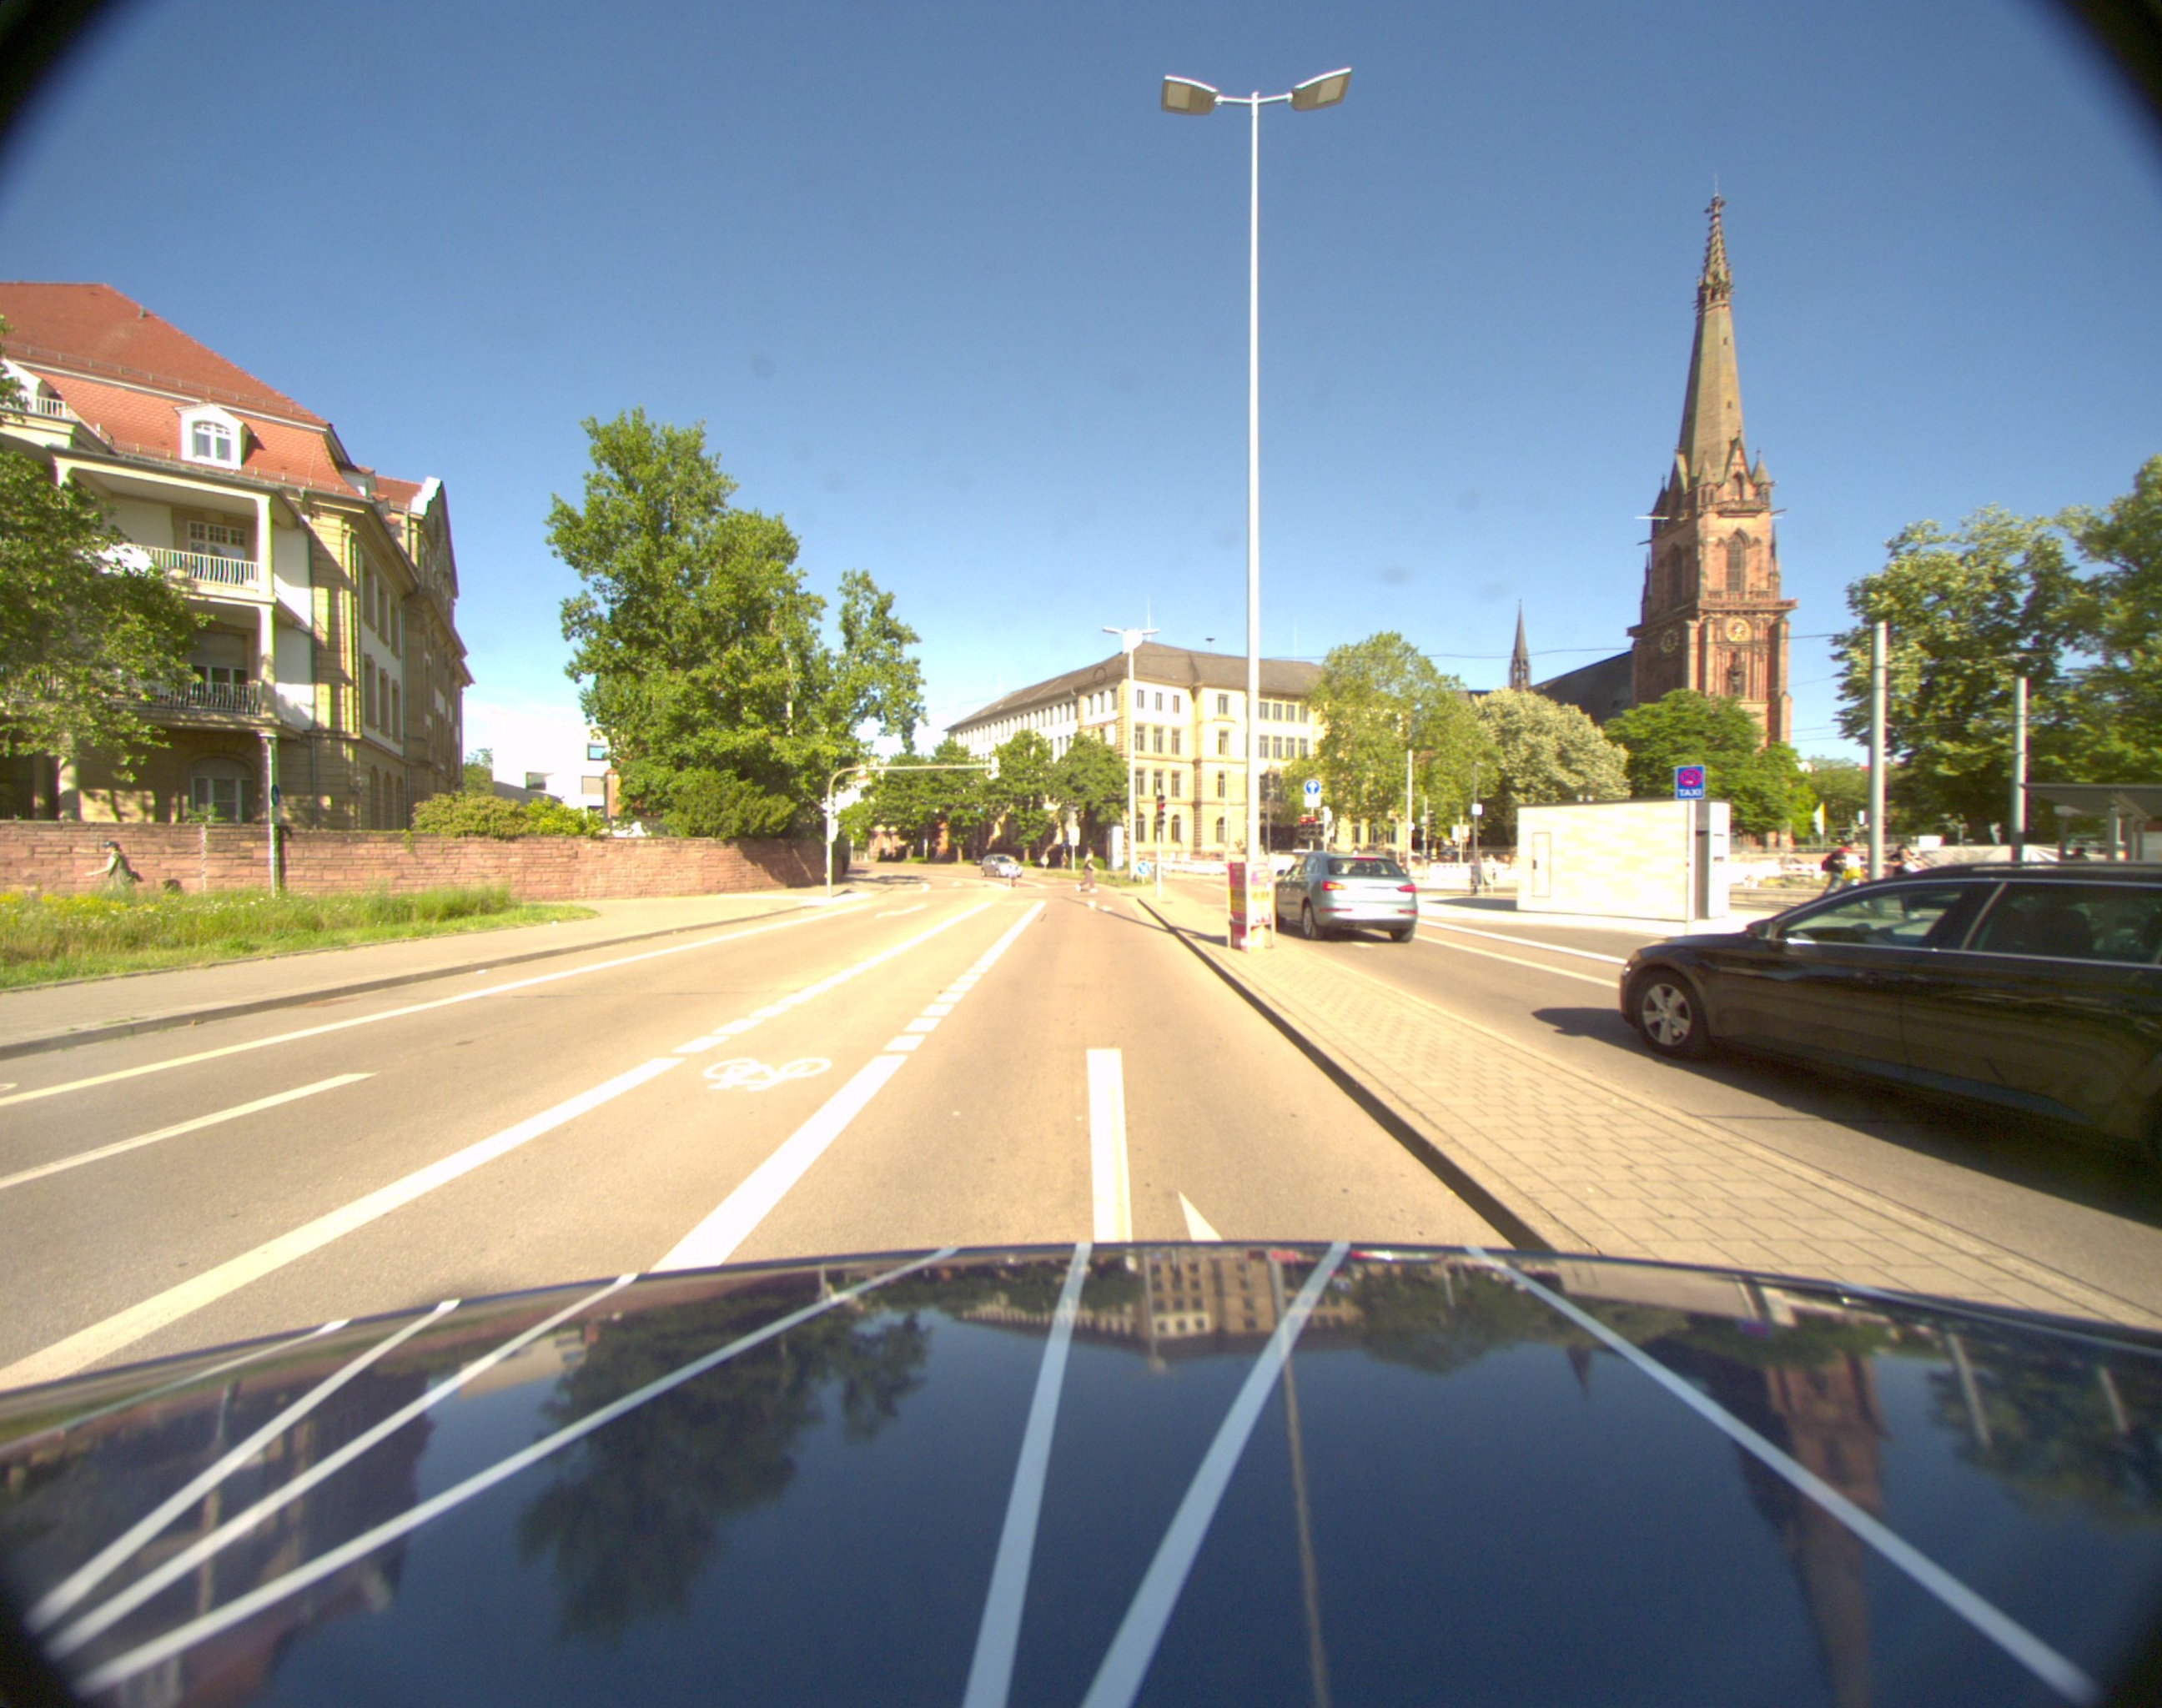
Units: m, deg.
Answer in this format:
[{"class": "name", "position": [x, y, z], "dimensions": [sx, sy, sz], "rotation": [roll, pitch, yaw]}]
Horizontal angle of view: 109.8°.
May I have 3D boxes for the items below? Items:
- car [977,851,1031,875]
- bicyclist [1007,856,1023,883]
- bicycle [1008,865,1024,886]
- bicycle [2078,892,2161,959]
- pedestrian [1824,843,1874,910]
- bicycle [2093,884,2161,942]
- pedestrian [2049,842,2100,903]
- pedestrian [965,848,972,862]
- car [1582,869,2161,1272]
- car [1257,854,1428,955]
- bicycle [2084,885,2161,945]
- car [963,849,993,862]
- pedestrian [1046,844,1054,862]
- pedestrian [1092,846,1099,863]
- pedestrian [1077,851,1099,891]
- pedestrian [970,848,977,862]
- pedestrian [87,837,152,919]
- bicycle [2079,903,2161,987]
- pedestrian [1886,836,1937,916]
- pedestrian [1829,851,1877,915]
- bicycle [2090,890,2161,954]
[{"class": "car", "position": [-5.556, 0.623, 54.126], "dimensions": [2.003, 1.580, 4.840], "rotation": [-3, 1, -30]}, {"class": "bicyclist", "position": [-3.444, 0.812, 39.714], "dimensions": [0.741, 1.363, 0.626], "rotation": [-2, 1, -6]}, {"class": "bicycle", "position": [-3.428, 1.123, 39.732], "dimensions": [0.741, 0.989, 2.305], "rotation": [-2, 1, -6]}, {"class": "bicycle", "position": [17.183, 1.143, 12.014], "dimensions": [0.407, 0.993, 1.679], "rotation": [-3, 2, -33]}, {"class": "pedestrian", "position": [20.379, 0.582, 20.167], "dimensions": [0.622, 1.717, 0.831], "rotation": [-1, 1, -36]}, {"class": "bicycle", "position": [19.512, 1.066, 13.581], "dimensions": [0.407, 0.993, 1.679], "rotation": [-3, 2, -33]}, {"class": "pedestrian", "position": [30.618, 0.555, 23.421], "dimensions": [0.619, 1.849, 0.703], "rotation": [0, 1, 11]}, {"class": "pedestrian", "position": [-14.978, 0.120, 101.208], "dimensions": [0.578, 1.893, 0.781], "rotation": [-1, 1, -36]}, {"class": "car", "position": [5.137, 0.910, 3.938], "dimensions": [1.818, 1.496, 4.783], "rotation": [2, 0, -1]}, {"class": "car", "position": [4.723, 0.812, 14.405], "dimensions": [1.792, 1.572, 4.257], "rotation": [1, 0, 1]}, {"class": "bicycle", "position": [19.026, 1.085, 13.339], "dimensions": [0.407, 0.993, 1.679], "rotation": [-3, 2, -33]}, {"class": "car", "position": [-12.260, 0.145, 90.562], "dimensions": [1.839, 1.587, 3.989], "rotation": [-1, 1, -37]}, {"class": "pedestrian", "position": [-3.525, -0.079, 86.387], "dimensions": [0.557, 2.002, 0.645], "rotation": [-1, 1, -37]}, {"class": "pedestrian", "position": [1.471, 0.010, 76.859], "dimensions": [0.540, 1.710, 0.545], "rotation": [-1, 1, -37]}, {"class": "pedestrian", "position": [0.298, 0.724, 32.717], "dimensions": [0.932, 1.657, 0.630], "rotation": [0, 1, -3]}, {"class": "pedestrian", "position": [-14.392, 0.085, 101.769], "dimensions": [0.578, 1.893, 0.849], "rotation": [-1, 1, -36]}, {"class": "pedestrian", "position": [-22.314, 0.545, 17.643], "dimensions": [0.789, 1.847, 0.629], "rotation": [-1, 1, -40]}, {"class": "bicycle", "position": [13.983, 1.190, 9.552], "dimensions": [0.407, 0.993, 1.678], "rotation": [-3, 3, -33]}, {"class": "pedestrian", "position": [19.656, 0.496, 17.996], "dimensions": [0.703, 1.849, 0.619], "rotation": [-1, 1, -26]}, {"class": "pedestrian", "position": [19.787, 0.720, 19.480], "dimensions": [0.621, 1.613, 0.701], "rotation": [-1, 1, -26]}, {"class": "bicycle", "position": [17.962, 1.139, 12.461], "dimensions": [0.407, 0.993, 1.679], "rotation": [-3, 2, -33]}]
